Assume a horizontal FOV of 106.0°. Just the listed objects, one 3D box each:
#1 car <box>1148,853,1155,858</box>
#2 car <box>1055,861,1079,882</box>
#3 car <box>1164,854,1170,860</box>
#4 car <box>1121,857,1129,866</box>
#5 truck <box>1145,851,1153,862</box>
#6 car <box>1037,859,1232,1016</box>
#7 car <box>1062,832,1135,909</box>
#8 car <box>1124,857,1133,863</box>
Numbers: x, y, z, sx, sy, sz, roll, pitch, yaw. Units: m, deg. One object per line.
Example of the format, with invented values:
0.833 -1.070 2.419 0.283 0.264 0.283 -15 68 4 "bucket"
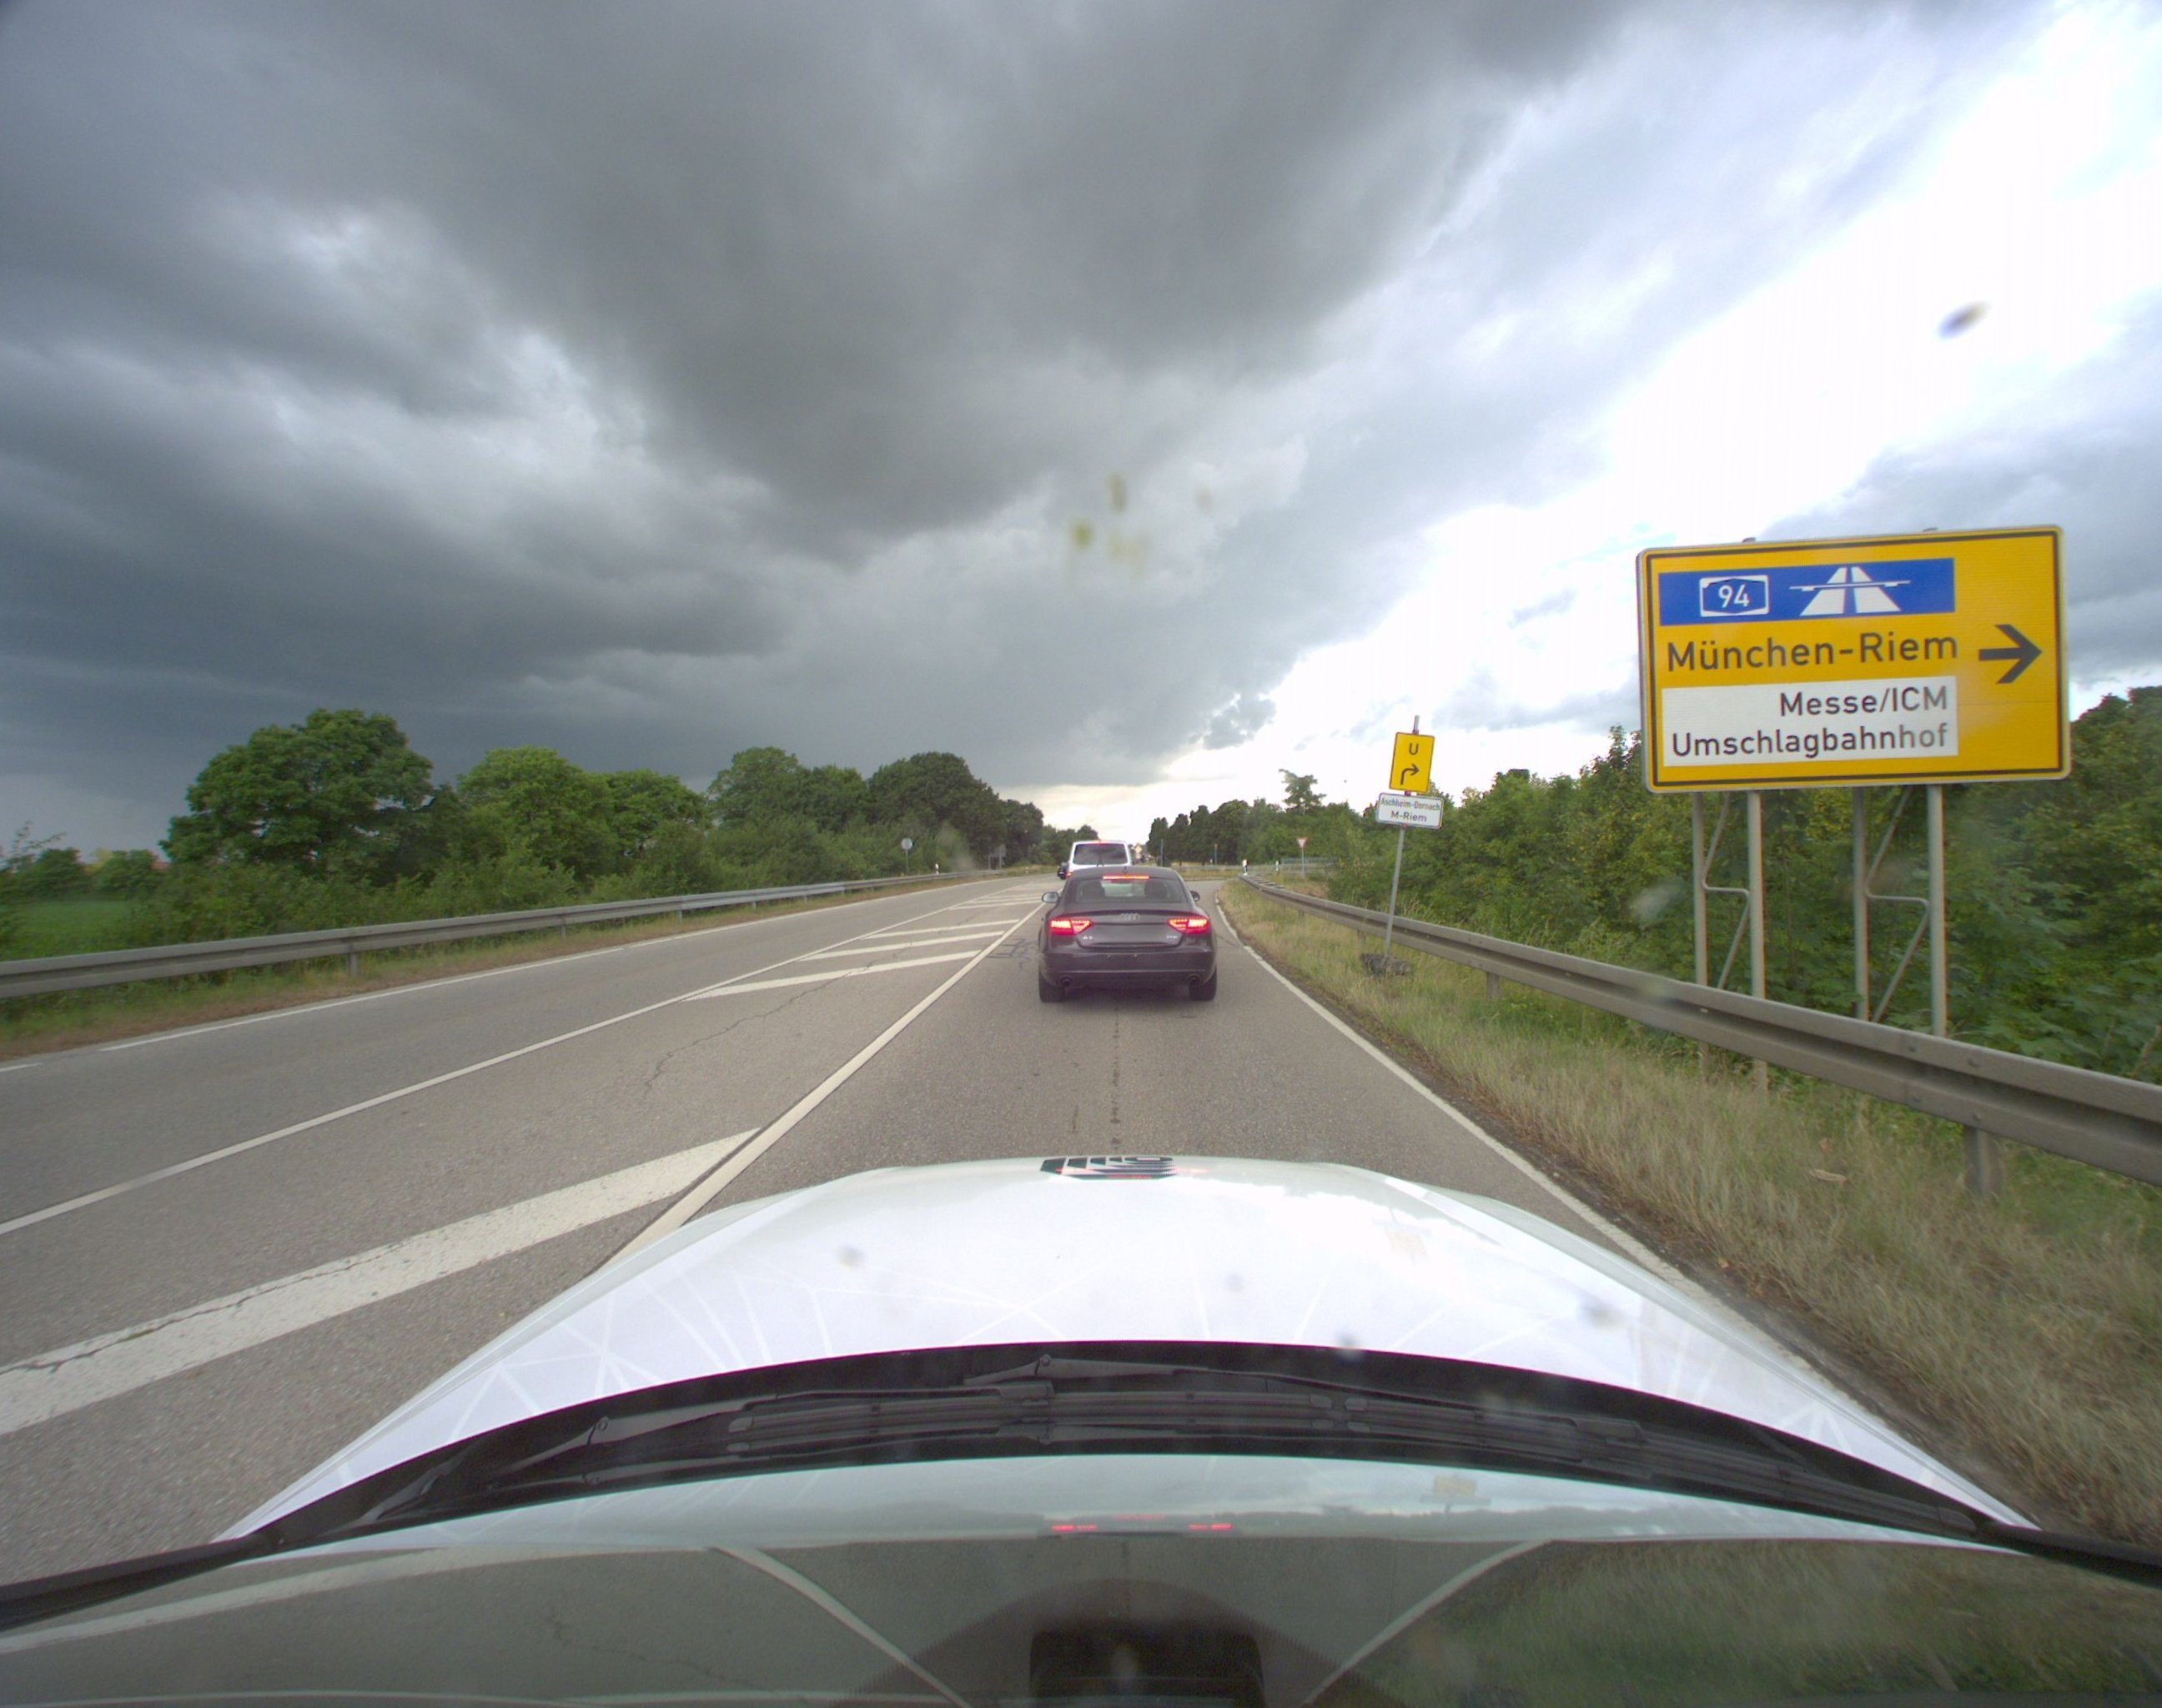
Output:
21.703 0.485 249.380 1.985 1.692 4.004 0 0 3 "car"
-1.094 1.330 64.043 1.704 1.518 4.210 0 0 1 "car"
25.664 0.924 242.469 1.865 1.692 4.008 0 0 7 "car"
10.693 1.792 198.789 1.985 2.013 4.004 0 0 3 "car"
19.309 0.745 231.281 1.984 2.918 5.799 0 0 4 "truck"
0.506 0.779 9.165 1.774 1.398 3.336 -1 0 0 "car"
0.478 0.437 23.421 1.904 2.013 4.000 0 0 1 "car"
12.519 1.616 215.330 2.198 1.582 4.379 0 0 1 "car"
